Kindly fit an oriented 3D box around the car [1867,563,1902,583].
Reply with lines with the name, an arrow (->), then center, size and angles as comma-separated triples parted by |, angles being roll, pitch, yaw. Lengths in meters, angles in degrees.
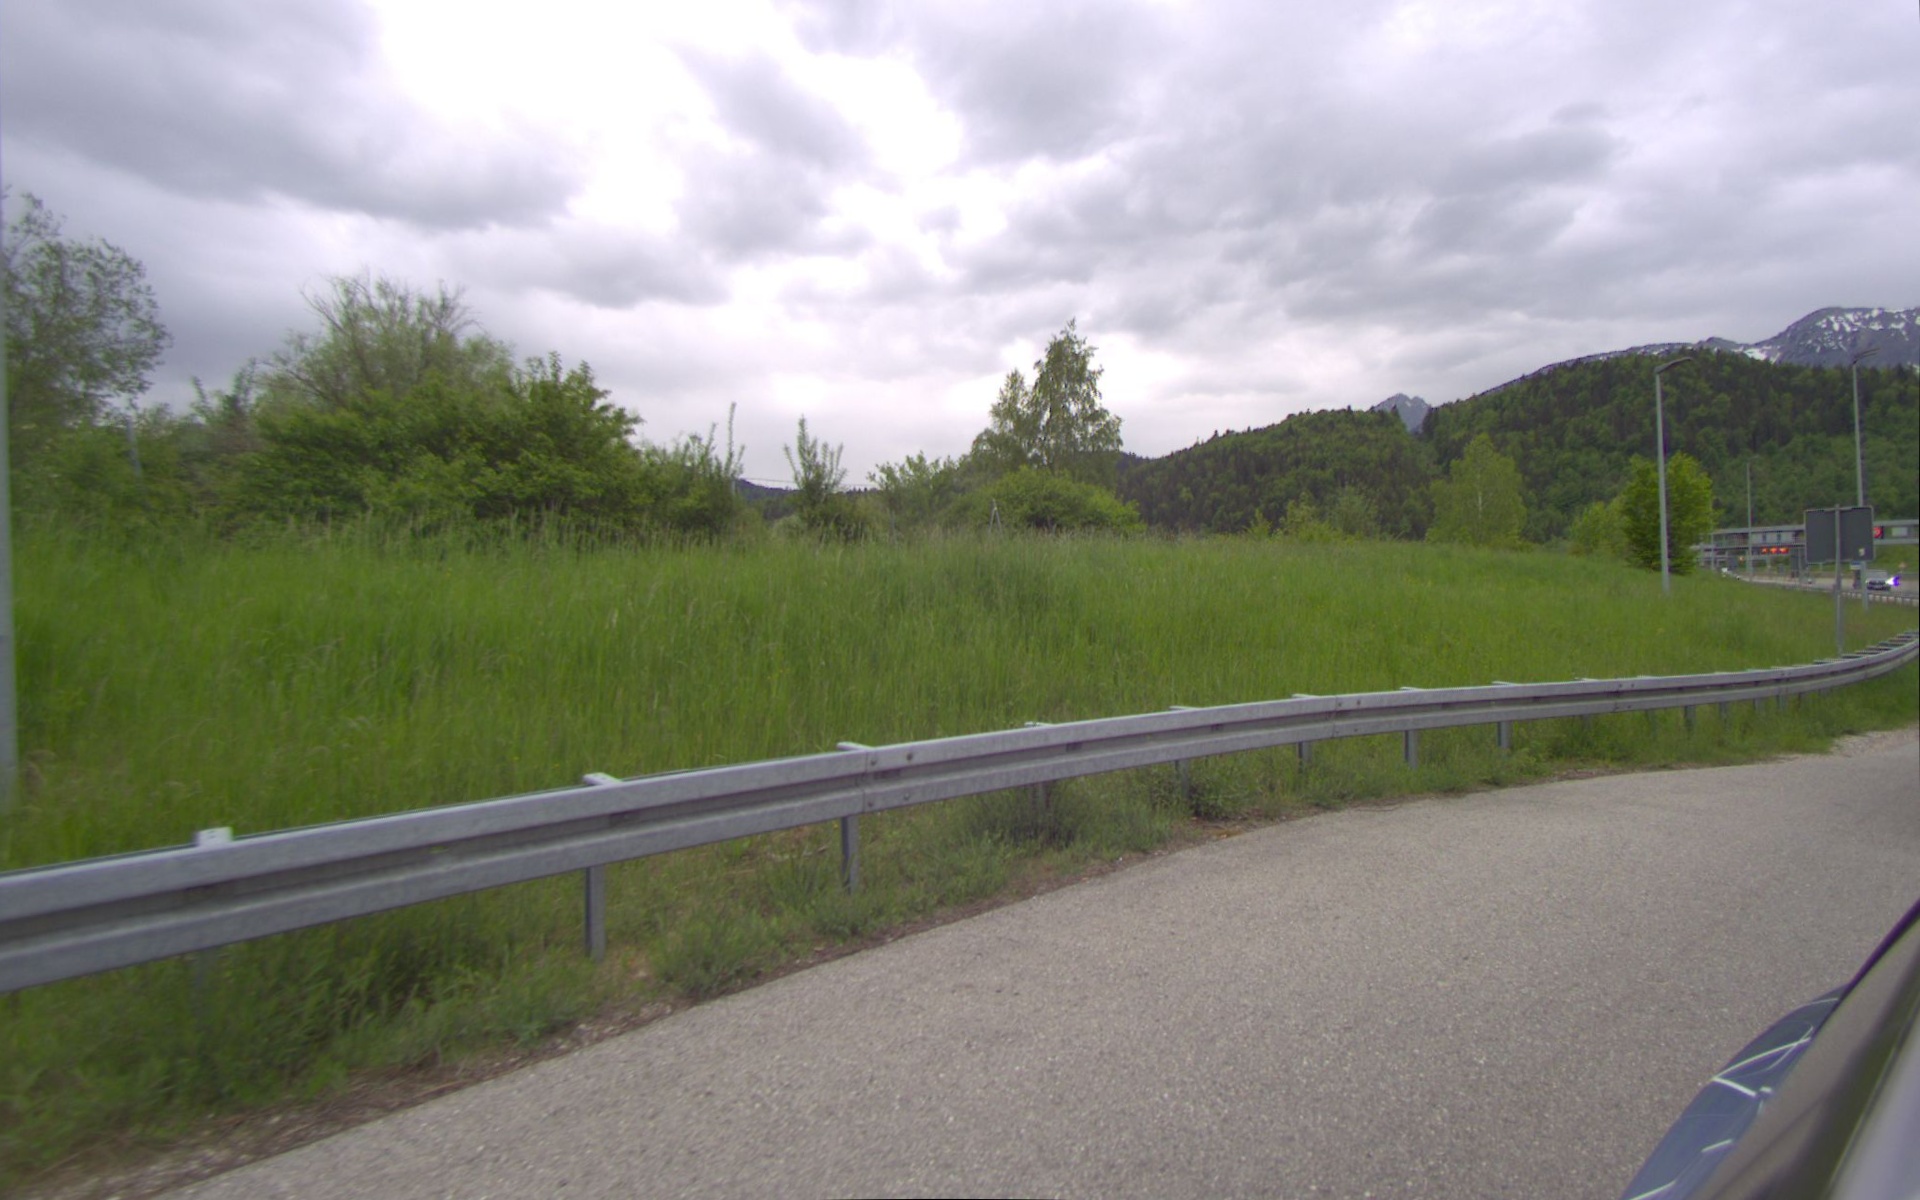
car -> 78.873, -2.340, 86.392 | 1.711, 1.659, 4.293 | 1, 2, 36
